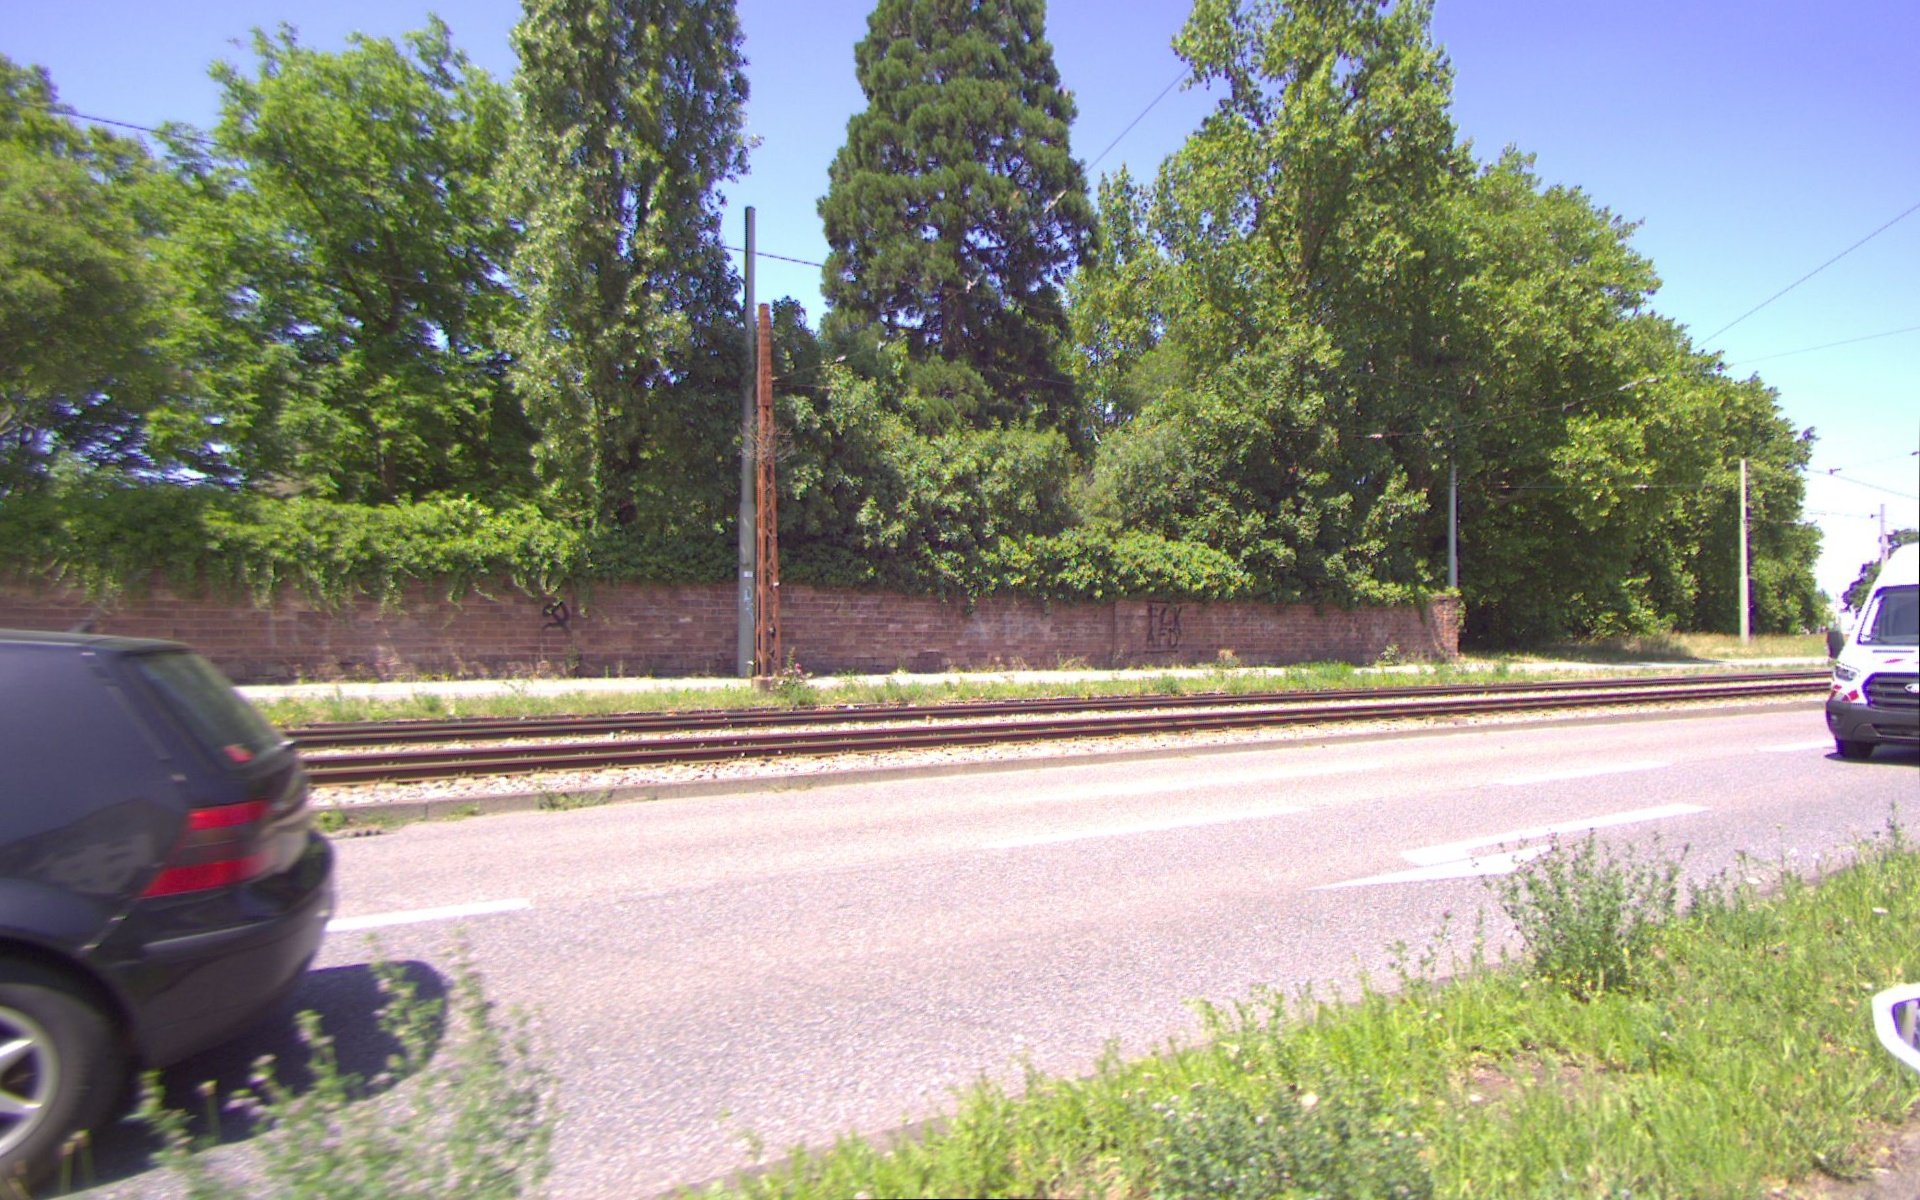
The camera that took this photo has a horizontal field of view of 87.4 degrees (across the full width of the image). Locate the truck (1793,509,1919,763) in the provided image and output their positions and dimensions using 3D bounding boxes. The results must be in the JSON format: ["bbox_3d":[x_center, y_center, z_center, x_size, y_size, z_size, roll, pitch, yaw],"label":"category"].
[{"bbox_3d":[12.811,0.437,12.462,5.482,2.784,2.071,1,-2,-31],"label":"truck"}]

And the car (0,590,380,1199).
[{"bbox_3d":[-3.728,0.720,2.564,3.868,1.478,1.708,1,-2,-31],"label":"car"}]
